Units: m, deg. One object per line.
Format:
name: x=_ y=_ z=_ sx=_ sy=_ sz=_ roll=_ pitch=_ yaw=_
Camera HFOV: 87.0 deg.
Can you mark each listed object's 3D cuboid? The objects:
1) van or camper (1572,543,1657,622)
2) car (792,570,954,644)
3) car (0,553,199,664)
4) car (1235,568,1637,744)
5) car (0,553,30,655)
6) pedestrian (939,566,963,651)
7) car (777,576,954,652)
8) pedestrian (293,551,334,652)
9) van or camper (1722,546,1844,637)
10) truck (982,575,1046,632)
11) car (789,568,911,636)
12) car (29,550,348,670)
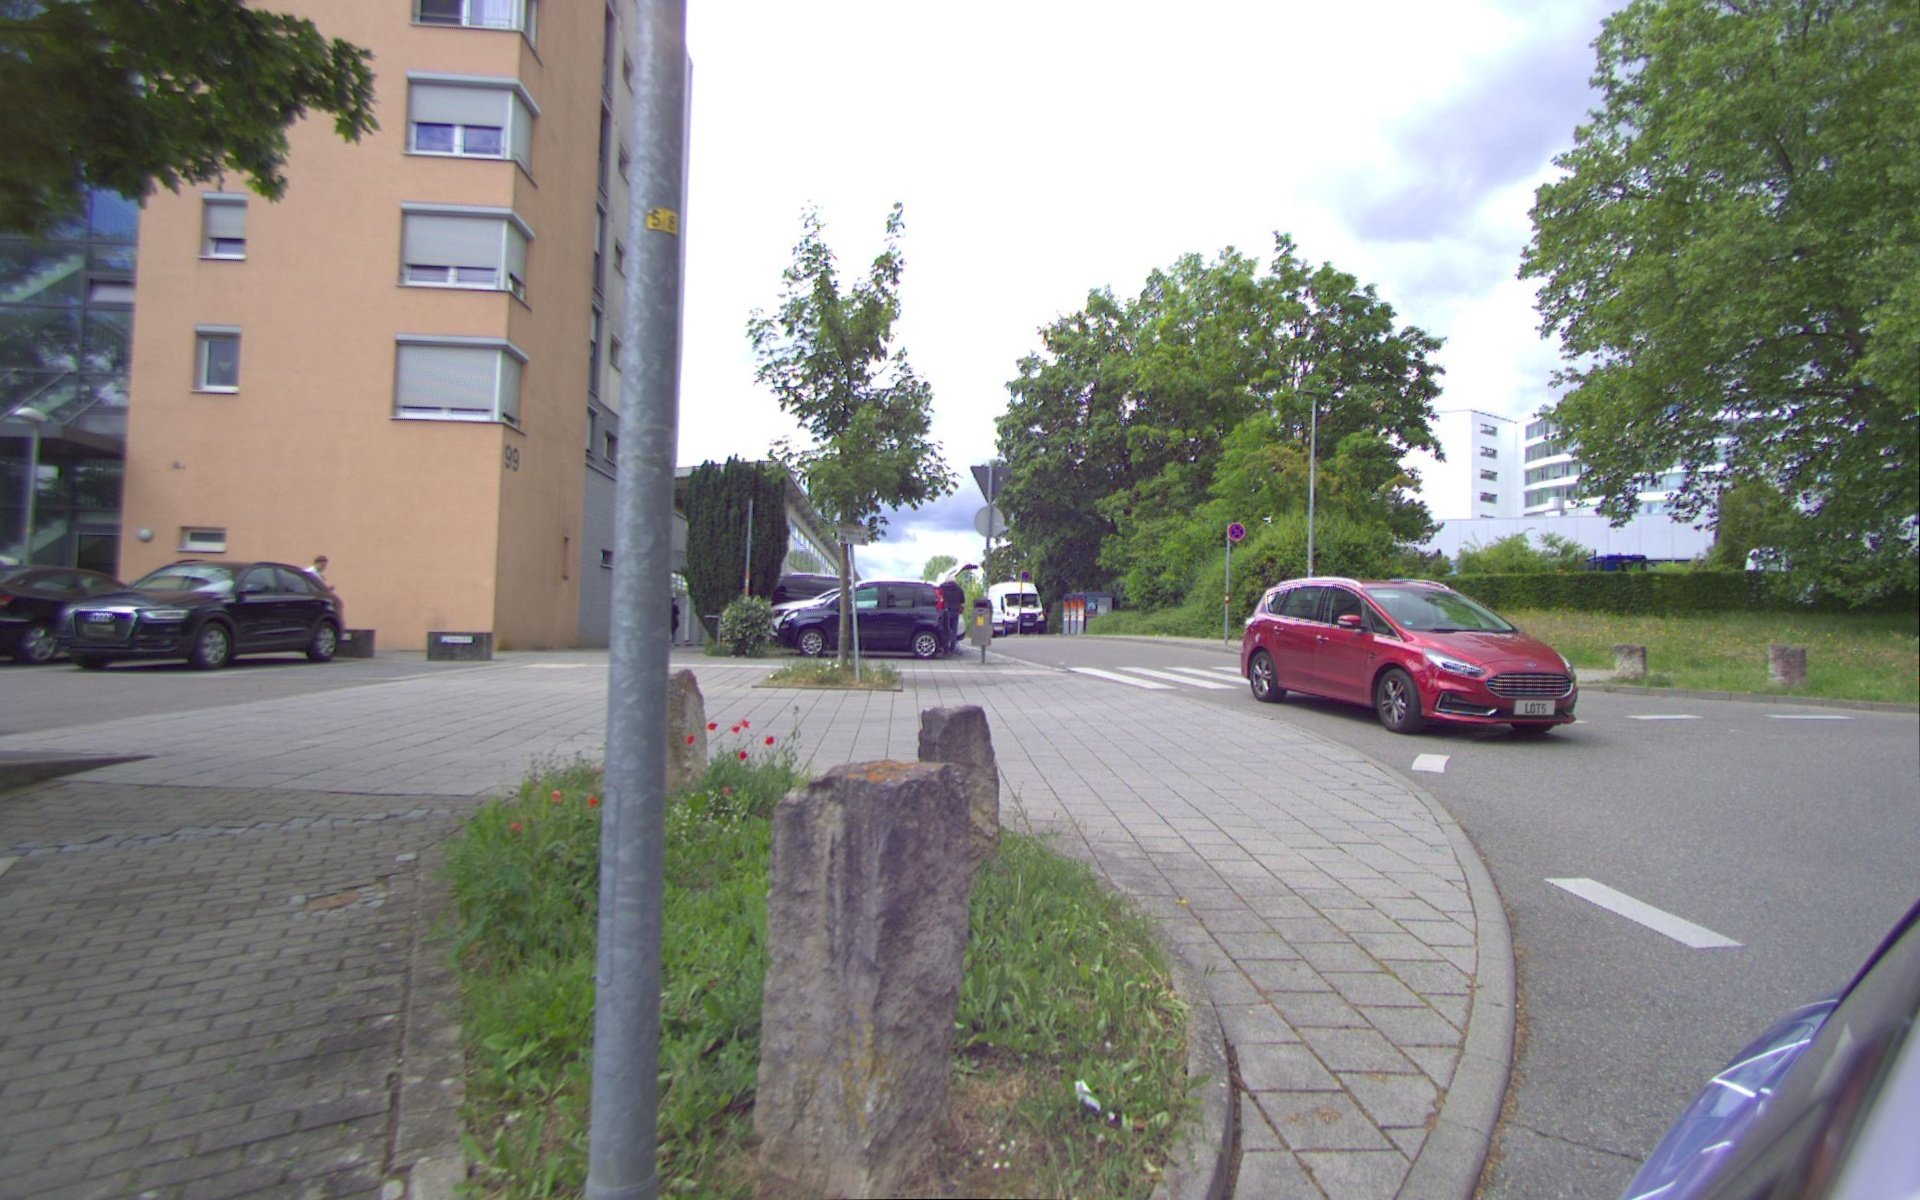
van or camper: x=25.261 y=-0.589 z=39.236 sx=2.093 sy=2.834 sz=4.440 roll=-1 pitch=-2 yaw=25
car: x=-2.053 y=0.150 z=24.084 sx=3.702 sy=1.679 sz=1.575 roll=0 pitch=1 yaw=-4
car: x=-13.658 y=0.162 z=15.164 sx=1.660 sy=1.478 sz=3.839 roll=0 pitch=-2 yaw=-1
car: x=5.284 y=0.476 z=12.077 sx=1.939 sy=1.665 sz=4.546 roll=-1 pitch=1 yaw=-13
car: x=-15.851 y=0.022 z=14.490 sx=1.658 sy=1.614 sz=4.137 roll=0 pitch=-2 yaw=-8
pedestrian: x=-0.197 y=0.187 z=22.048 sx=0.475 sy=1.836 sz=0.583 roll=0 pitch=-2 yaw=-3
car: x=-1.916 y=0.289 z=20.680 sx=3.456 sy=1.495 sz=1.505 roll=0 pitch=-2 yaw=-4
pedestrian: x=-12.120 y=0.028 z=18.983 sx=0.496 sy=1.877 sz=0.480 roll=0 pitch=-2 yaw=-14
van or camper: x=27.709 y=-0.210 z=34.240 sx=2.093 sy=2.834 sz=4.440 roll=-1 pitch=-2 yaw=25
truck: x=2.571 y=0.214 z=49.815 sx=2.025 sy=2.640 sz=5.815 roll=0 pitch=-2 yaw=-8
car: x=-3.615 y=0.074 z=33.567 sx=3.898 sy=2.188 sz=1.831 roll=0 pitch=-2 yaw=-4
car: x=-11.203 y=0.180 z=15.121 sx=1.722 sy=1.537 sz=4.054 roll=0 pitch=-2 yaw=-1
